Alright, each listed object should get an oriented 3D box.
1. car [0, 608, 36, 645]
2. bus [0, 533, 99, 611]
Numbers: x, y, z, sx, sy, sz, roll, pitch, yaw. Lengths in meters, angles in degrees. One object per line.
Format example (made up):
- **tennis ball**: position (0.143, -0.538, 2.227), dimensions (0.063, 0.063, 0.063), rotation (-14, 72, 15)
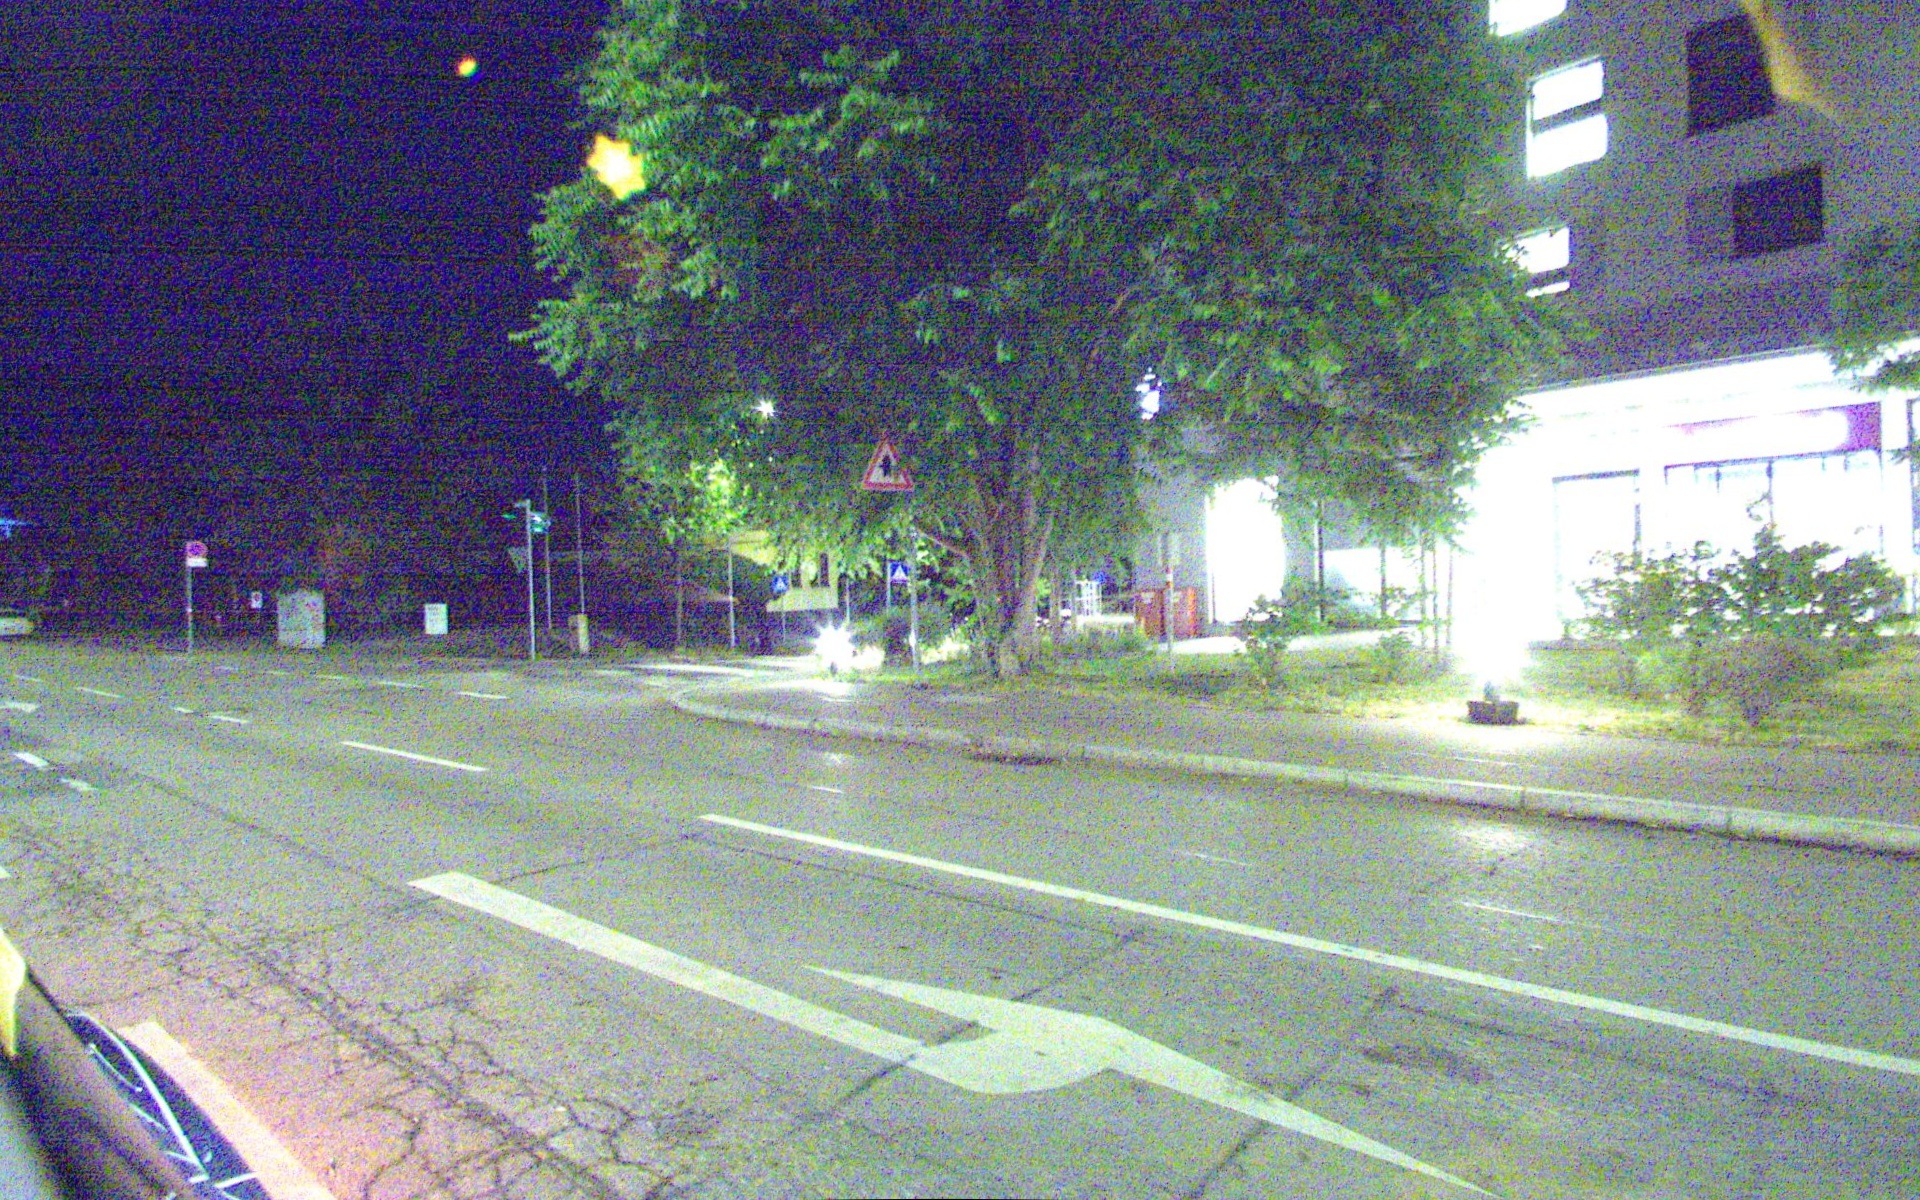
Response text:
- **car**: position (-43.324, 1.173, 45.755), dimensions (3.997, 1.604, 1.783), rotation (-1, 0, 40)
- **bus**: position (-88.860, -2.490, 98.206), dimensions (14.776, 6.990, 6.056), rotation (-1, 0, 41)
